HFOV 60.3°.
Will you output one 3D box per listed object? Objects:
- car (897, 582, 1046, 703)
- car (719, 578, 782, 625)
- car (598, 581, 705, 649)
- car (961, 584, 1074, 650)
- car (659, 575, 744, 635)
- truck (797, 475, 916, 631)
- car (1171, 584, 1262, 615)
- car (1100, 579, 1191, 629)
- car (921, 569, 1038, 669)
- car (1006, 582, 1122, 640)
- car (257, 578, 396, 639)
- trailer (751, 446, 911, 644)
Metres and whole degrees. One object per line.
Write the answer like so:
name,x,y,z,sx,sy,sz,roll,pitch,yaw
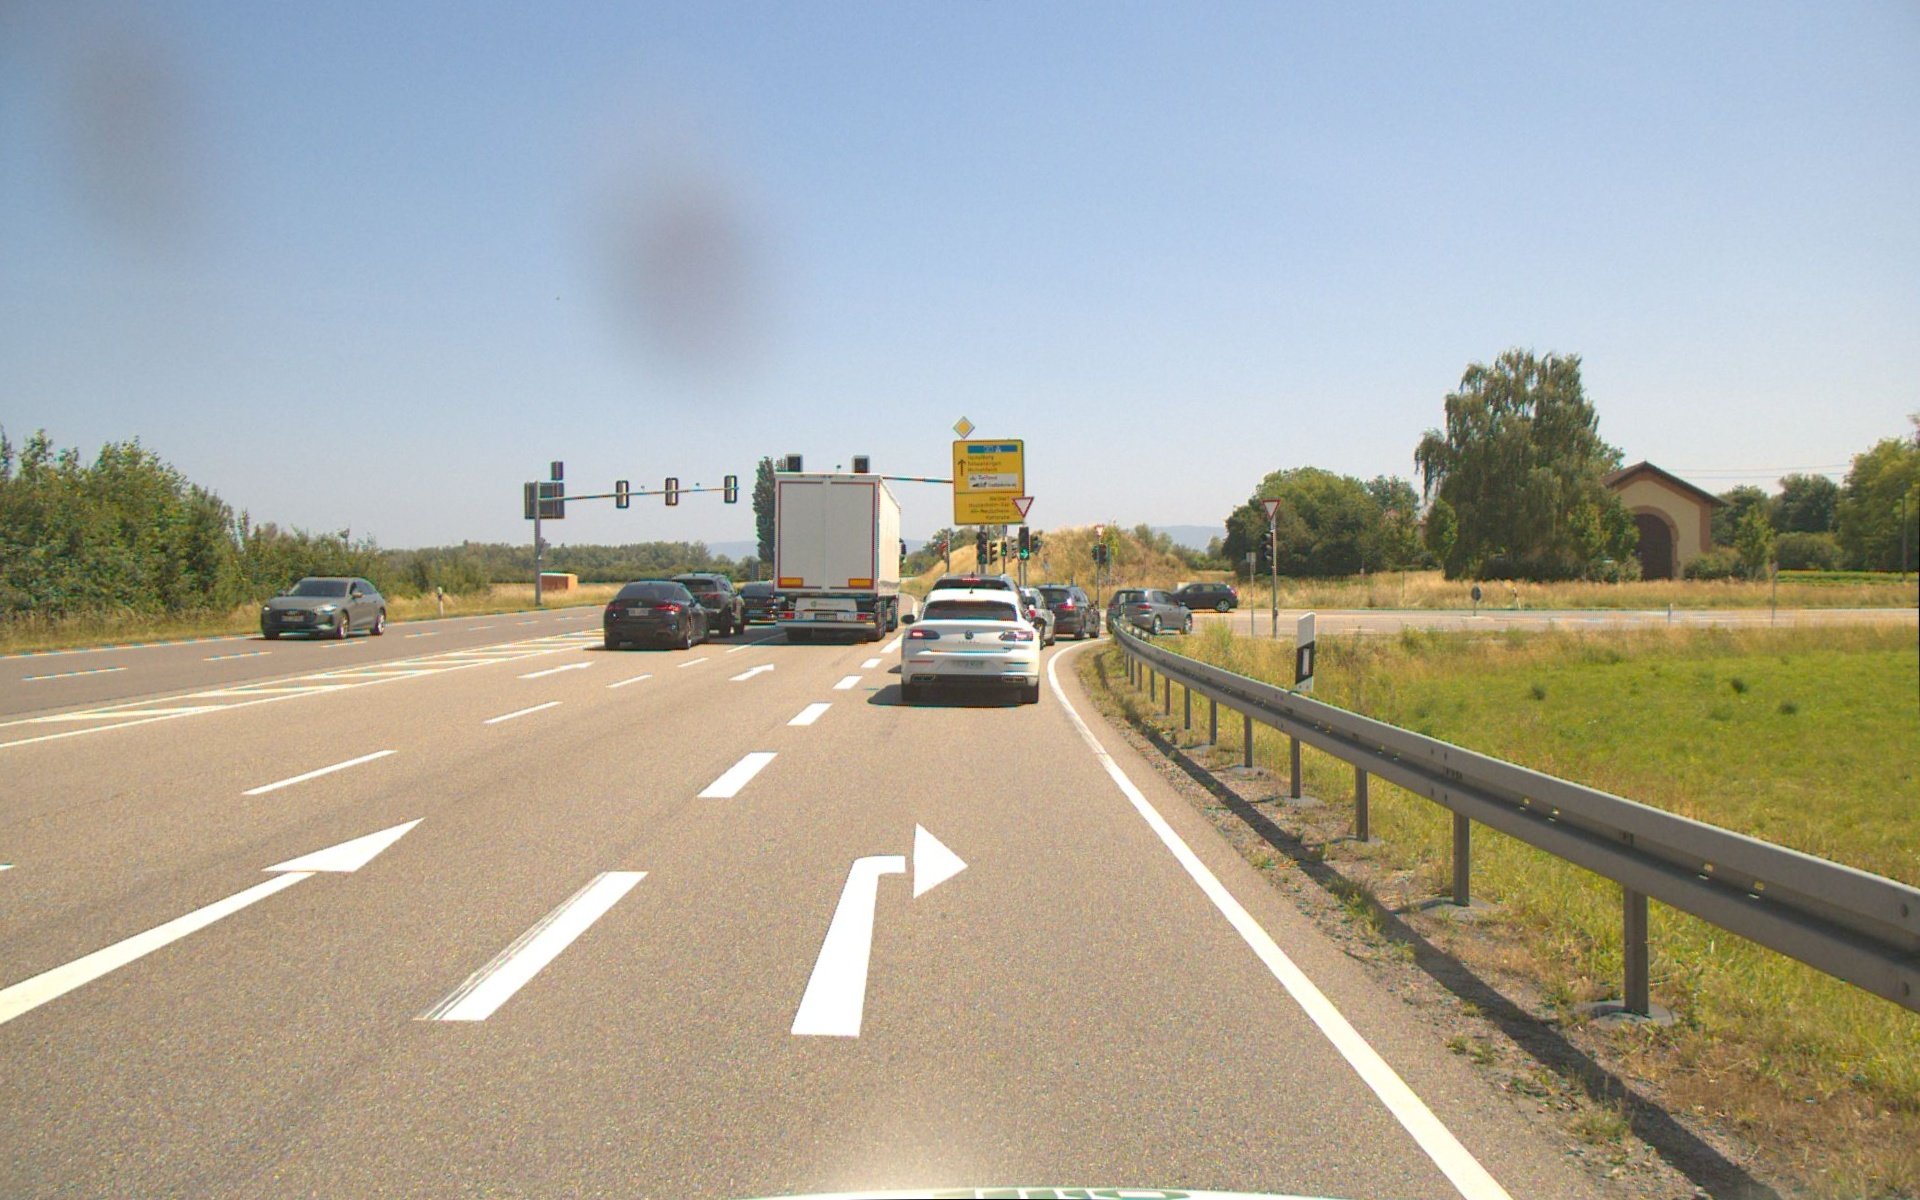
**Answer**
car,0.142,0.508,22.493,1.810,1.458,4.608,1,0,0
car,-7.185,0.038,57.040,1.772,1.519,4.020,1,0,-2
car,-6.873,0.304,37.211,1.772,1.423,4.020,1,0,-2
car,1.407,0.363,38.911,1.761,1.454,4.096,1,0,15
car,-6.921,0.122,44.598,1.772,1.519,4.020,1,0,-2
truck,-3.198,-1.438,52.906,3.312,4.622,6.372,1,0,0
car,12.302,-0.035,79.544,4.171,1.392,1.777,-1,2,3
car,6.068,0.111,53.818,1.764,1.548,3.879,1,0,26
car,0.427,0.310,29.790,1.894,1.644,4.380,1,0,3
car,2.913,0.285,45.480,1.764,1.502,4.412,1,0,24
car,-15.571,0.190,40.877,1.840,1.422,4.529,1,0,-2
trailer,-3.228,-1.358,45.402,3.312,4.622,12.872,1,0,0
